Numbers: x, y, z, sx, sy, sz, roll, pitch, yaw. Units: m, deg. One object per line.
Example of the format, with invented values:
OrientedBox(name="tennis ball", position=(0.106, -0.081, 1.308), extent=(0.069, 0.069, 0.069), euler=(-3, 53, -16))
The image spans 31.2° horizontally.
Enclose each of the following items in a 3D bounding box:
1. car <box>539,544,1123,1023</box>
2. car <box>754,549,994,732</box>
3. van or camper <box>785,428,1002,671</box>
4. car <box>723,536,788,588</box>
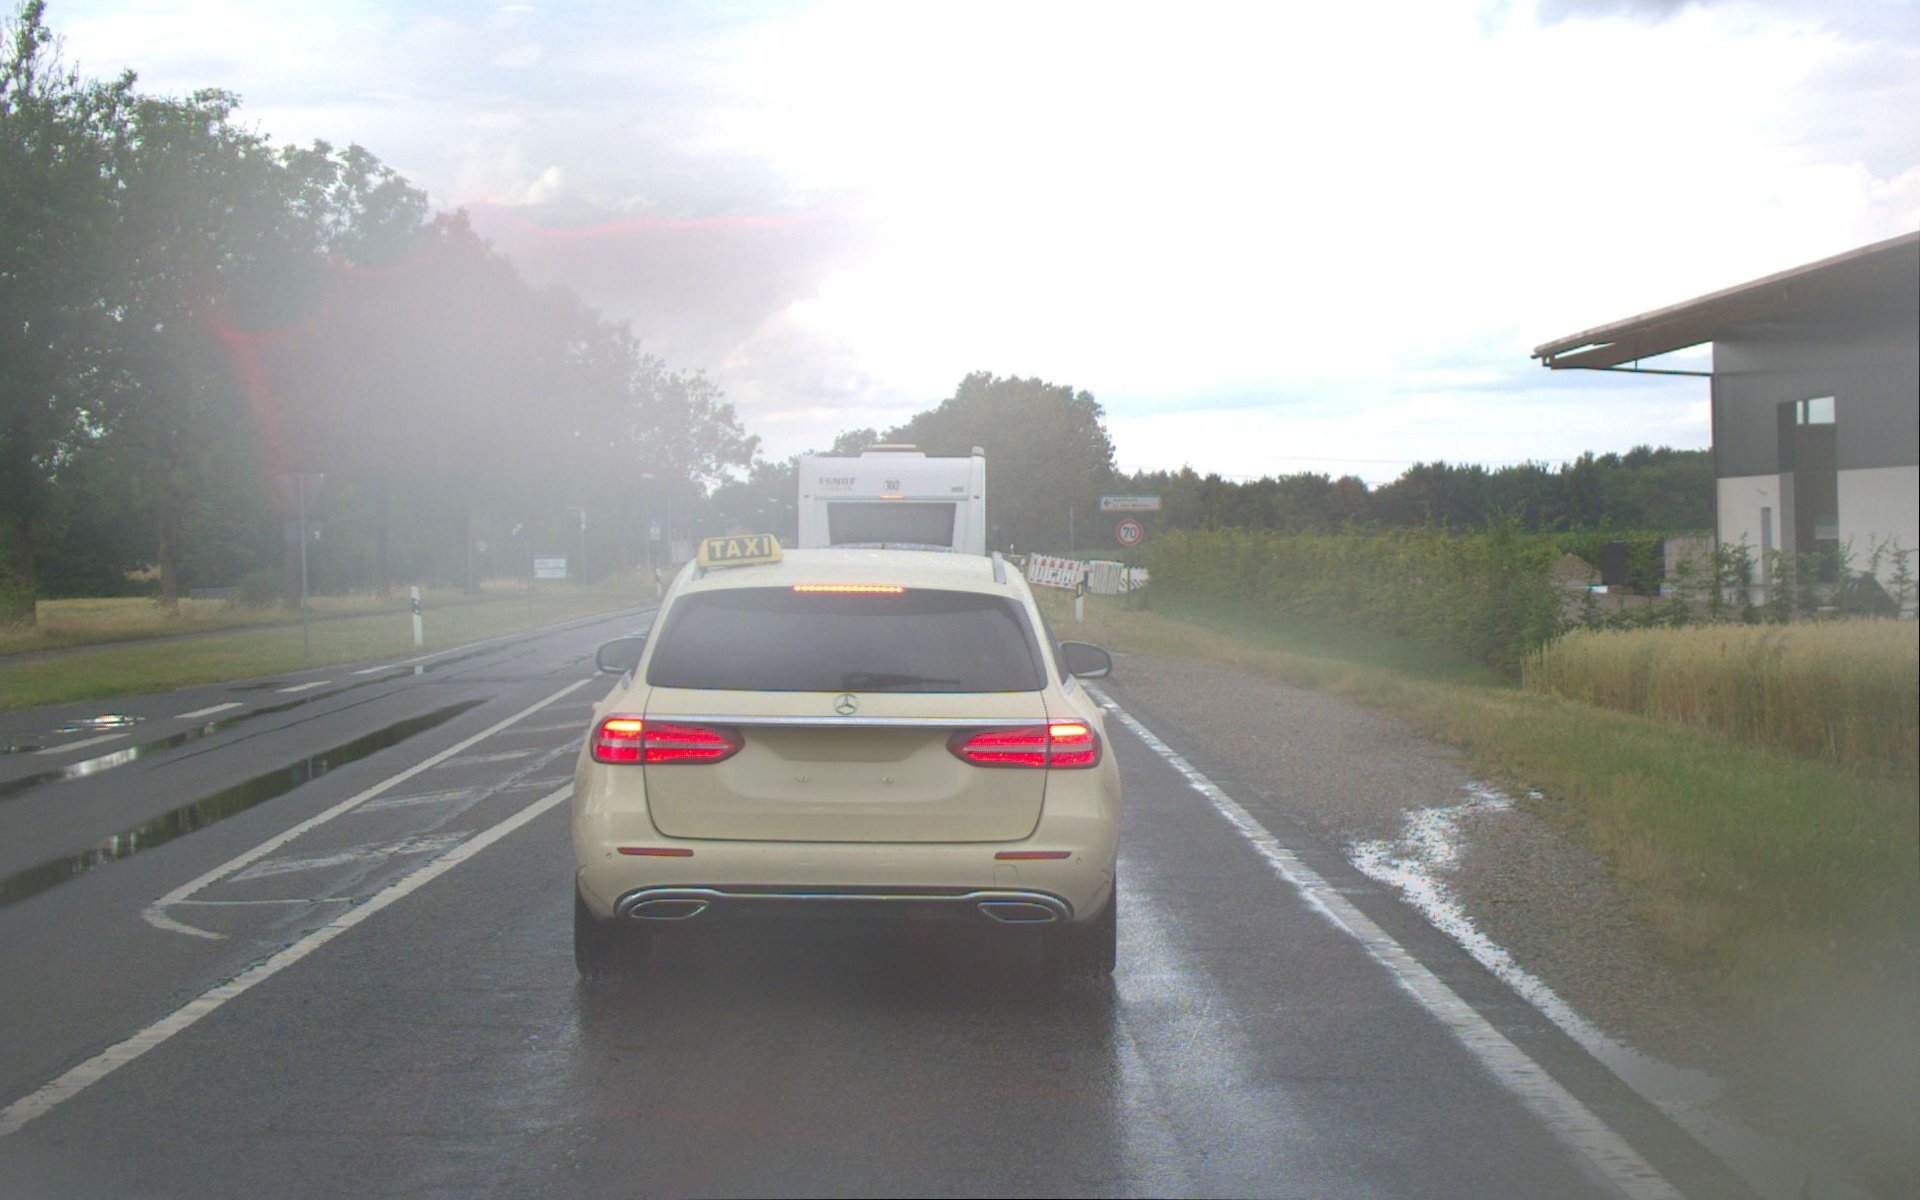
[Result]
OrientedBox(name="car", position=(-0.412, 0.534, 12.621), extent=(1.797, 1.459, 4.031), euler=(0, 1, 0))
OrientedBox(name="car", position=(-0.726, 0.293, 29.116), extent=(1.894, 1.424, 3.928), euler=(0, 1, -1))
OrientedBox(name="van or camper", position=(-0.790, -0.650, 44.006), extent=(2.497, 2.821, 5.934), euler=(-2, 1, 0))
OrientedBox(name="car", position=(-6.767, -1.285, 114.174), extent=(1.916, 1.626, 4.357), euler=(-2, 1, -1))
